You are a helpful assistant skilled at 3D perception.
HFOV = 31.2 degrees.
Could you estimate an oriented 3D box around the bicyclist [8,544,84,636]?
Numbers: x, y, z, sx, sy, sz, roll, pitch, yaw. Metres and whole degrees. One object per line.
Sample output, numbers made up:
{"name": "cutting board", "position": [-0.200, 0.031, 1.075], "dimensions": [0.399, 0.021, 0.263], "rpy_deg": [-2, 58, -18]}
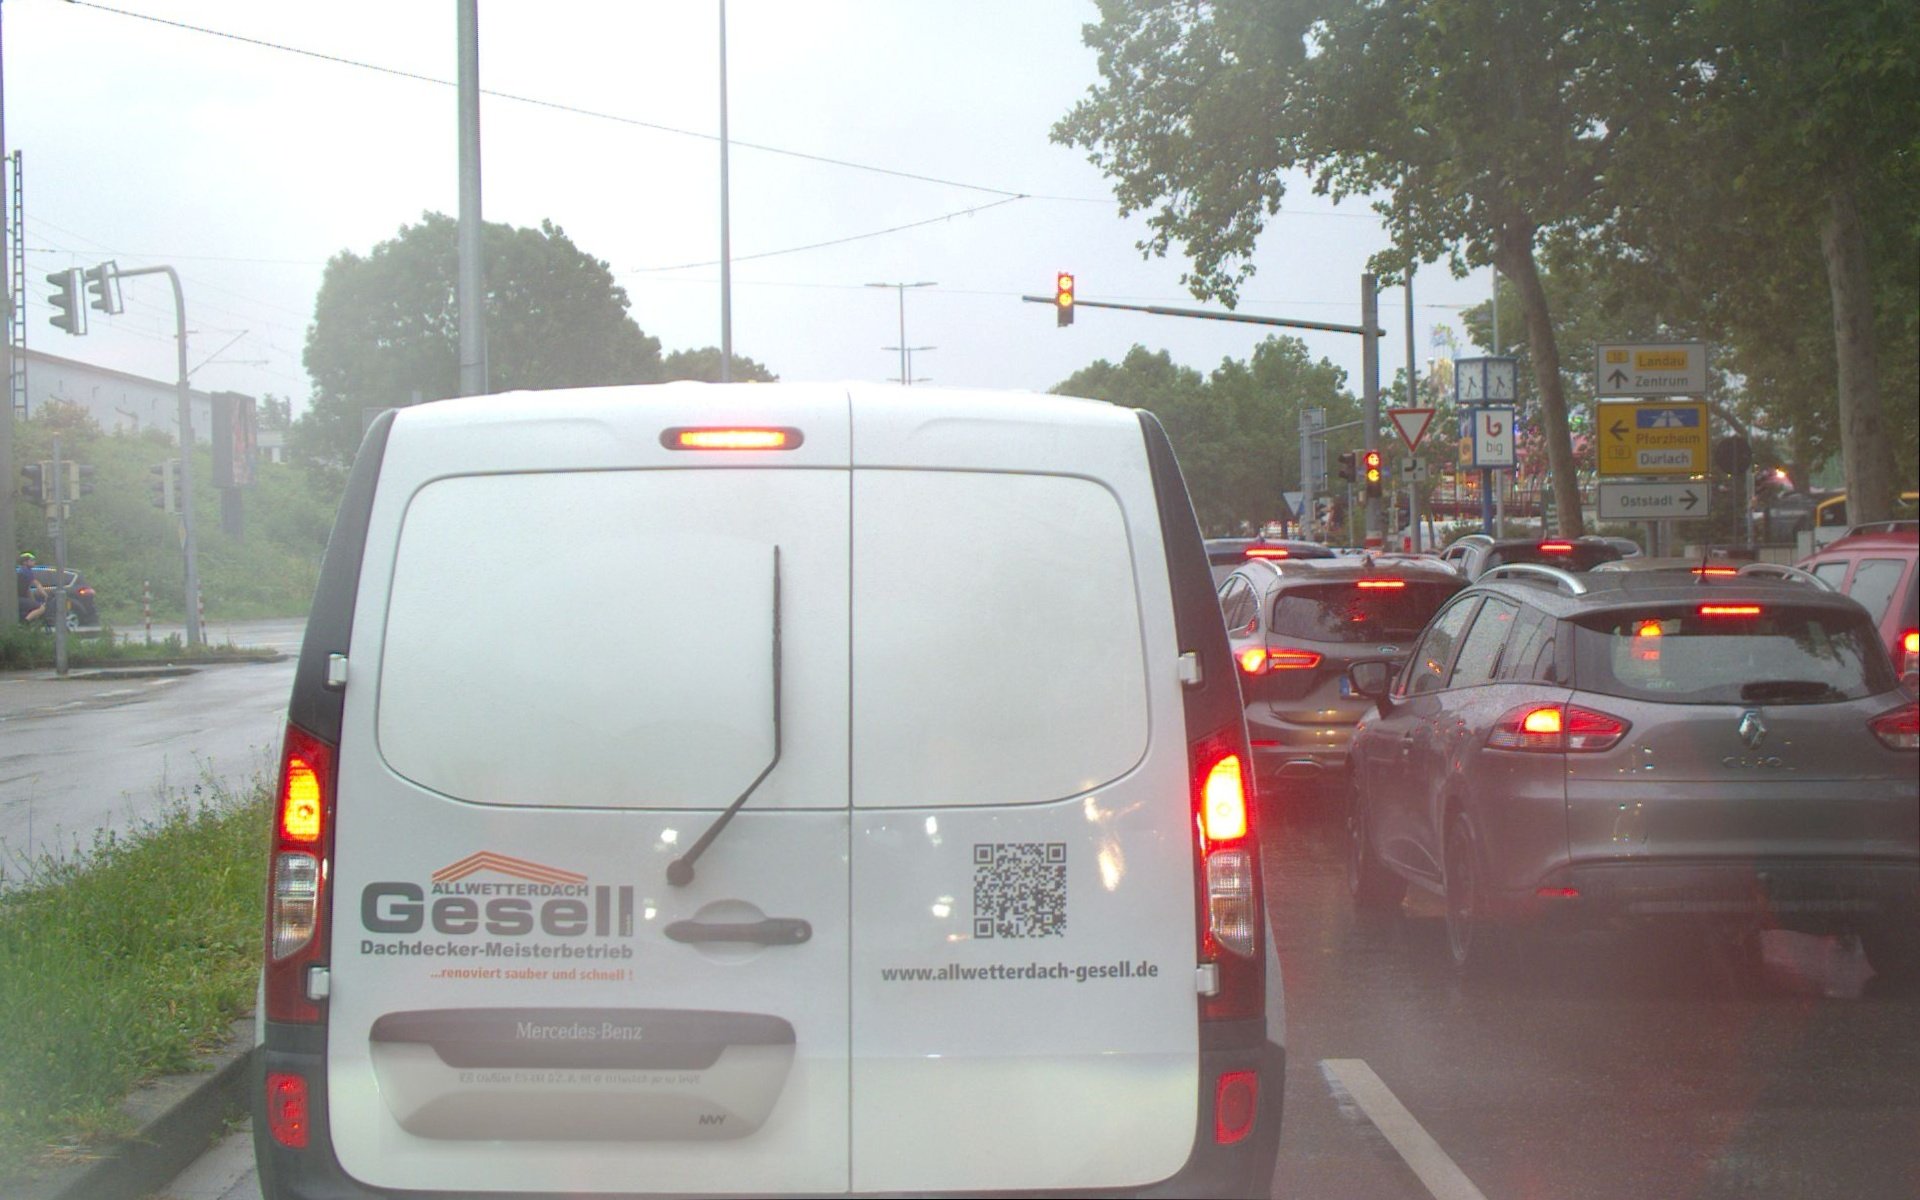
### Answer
{"name": "bicyclist", "position": [-14.759, -0.171, 55.493], "dimensions": [1.040, 1.445, 0.729], "rpy_deg": [-2, 2, -25]}

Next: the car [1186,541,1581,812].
{"name": "car", "position": [2.430, 0.383, 20.629], "dimensions": [1.854, 1.455, 3.843], "rpy_deg": [0, 1, -1]}

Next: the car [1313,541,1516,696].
{"name": "car", "position": [5.051, 0.174, 38.630], "dimensions": [1.708, 1.644, 3.843], "rpy_deg": [0, 1, -1]}

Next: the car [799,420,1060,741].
{"name": "car", "position": [-0.240, -0.181, 26.498], "dimensions": [1.854, 2.288, 3.843], "rpy_deg": [0, 1, -1]}

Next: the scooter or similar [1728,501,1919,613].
{"name": "scooter or similar", "position": [19.980, -0.968, 77.060], "dimensions": [1.890, 2.437, 5.316], "rpy_deg": [-1, 1, -41]}

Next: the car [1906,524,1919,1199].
{"name": "car", "position": [2.975, 0.649, 5.406], "dimensions": [1.747, 1.549, 4.091], "rpy_deg": [0, 1, -1]}

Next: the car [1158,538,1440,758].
{"name": "car", "position": [2.670, 0.329, 27.857], "dimensions": [1.854, 1.644, 3.843], "rpy_deg": [0, 1, -1]}

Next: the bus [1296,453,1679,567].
{"name": "bus", "position": [16.951, -2.894, 110.874], "dimensions": [11.970, 3.411, 2.315], "rpy_deg": [-1, 1, 0]}

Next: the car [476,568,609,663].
{"name": "car", "position": [-7.128, 0.233, 59.023], "dimensions": [1.816, 1.457, 4.000], "rpy_deg": [-3, 1, -1]}

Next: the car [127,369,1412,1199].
{"name": "car", "position": [-0.318, 0.481, 7.647], "dimensions": [1.993, 1.770, 4.585], "rpy_deg": [0, 1, -1]}

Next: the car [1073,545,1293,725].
{"name": "car", "position": [2.112, 0.303, 33.520], "dimensions": [1.854, 1.644, 3.843], "rpy_deg": [0, 1, -1]}

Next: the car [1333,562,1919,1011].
{"name": "car", "position": [2.523, 0.588, 13.075], "dimensions": [1.683, 1.403, 3.843], "rpy_deg": [1, 1, -1]}

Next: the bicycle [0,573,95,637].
{"name": "bicycle", "position": [-14.800, 0.072, 55.579], "dimensions": [1.040, 0.949, 2.889], "rpy_deg": [-2, 2, -25]}

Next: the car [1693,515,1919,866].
{"name": "car", "position": [5.335, 0.435, 18.695], "dimensions": [1.710, 1.688, 4.272], "rpy_deg": [1, 0, -1]}

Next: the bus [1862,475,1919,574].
{"name": "bus", "position": [37.317, -2.800, 122.816], "dimensions": [11.972, 3.411, 2.483], "rpy_deg": [-2, 2, -33]}

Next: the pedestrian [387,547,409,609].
{"name": "pedestrian", "position": [-15.714, -0.622, 96.100], "dimensions": [0.543, 1.710, 0.563], "rpy_deg": [1, 0, -4]}

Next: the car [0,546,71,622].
{"name": "car", "position": [-22.623, -0.372, 78.574], "dimensions": [3.987, 1.711, 2.000], "rpy_deg": [-1, 1, -36]}
